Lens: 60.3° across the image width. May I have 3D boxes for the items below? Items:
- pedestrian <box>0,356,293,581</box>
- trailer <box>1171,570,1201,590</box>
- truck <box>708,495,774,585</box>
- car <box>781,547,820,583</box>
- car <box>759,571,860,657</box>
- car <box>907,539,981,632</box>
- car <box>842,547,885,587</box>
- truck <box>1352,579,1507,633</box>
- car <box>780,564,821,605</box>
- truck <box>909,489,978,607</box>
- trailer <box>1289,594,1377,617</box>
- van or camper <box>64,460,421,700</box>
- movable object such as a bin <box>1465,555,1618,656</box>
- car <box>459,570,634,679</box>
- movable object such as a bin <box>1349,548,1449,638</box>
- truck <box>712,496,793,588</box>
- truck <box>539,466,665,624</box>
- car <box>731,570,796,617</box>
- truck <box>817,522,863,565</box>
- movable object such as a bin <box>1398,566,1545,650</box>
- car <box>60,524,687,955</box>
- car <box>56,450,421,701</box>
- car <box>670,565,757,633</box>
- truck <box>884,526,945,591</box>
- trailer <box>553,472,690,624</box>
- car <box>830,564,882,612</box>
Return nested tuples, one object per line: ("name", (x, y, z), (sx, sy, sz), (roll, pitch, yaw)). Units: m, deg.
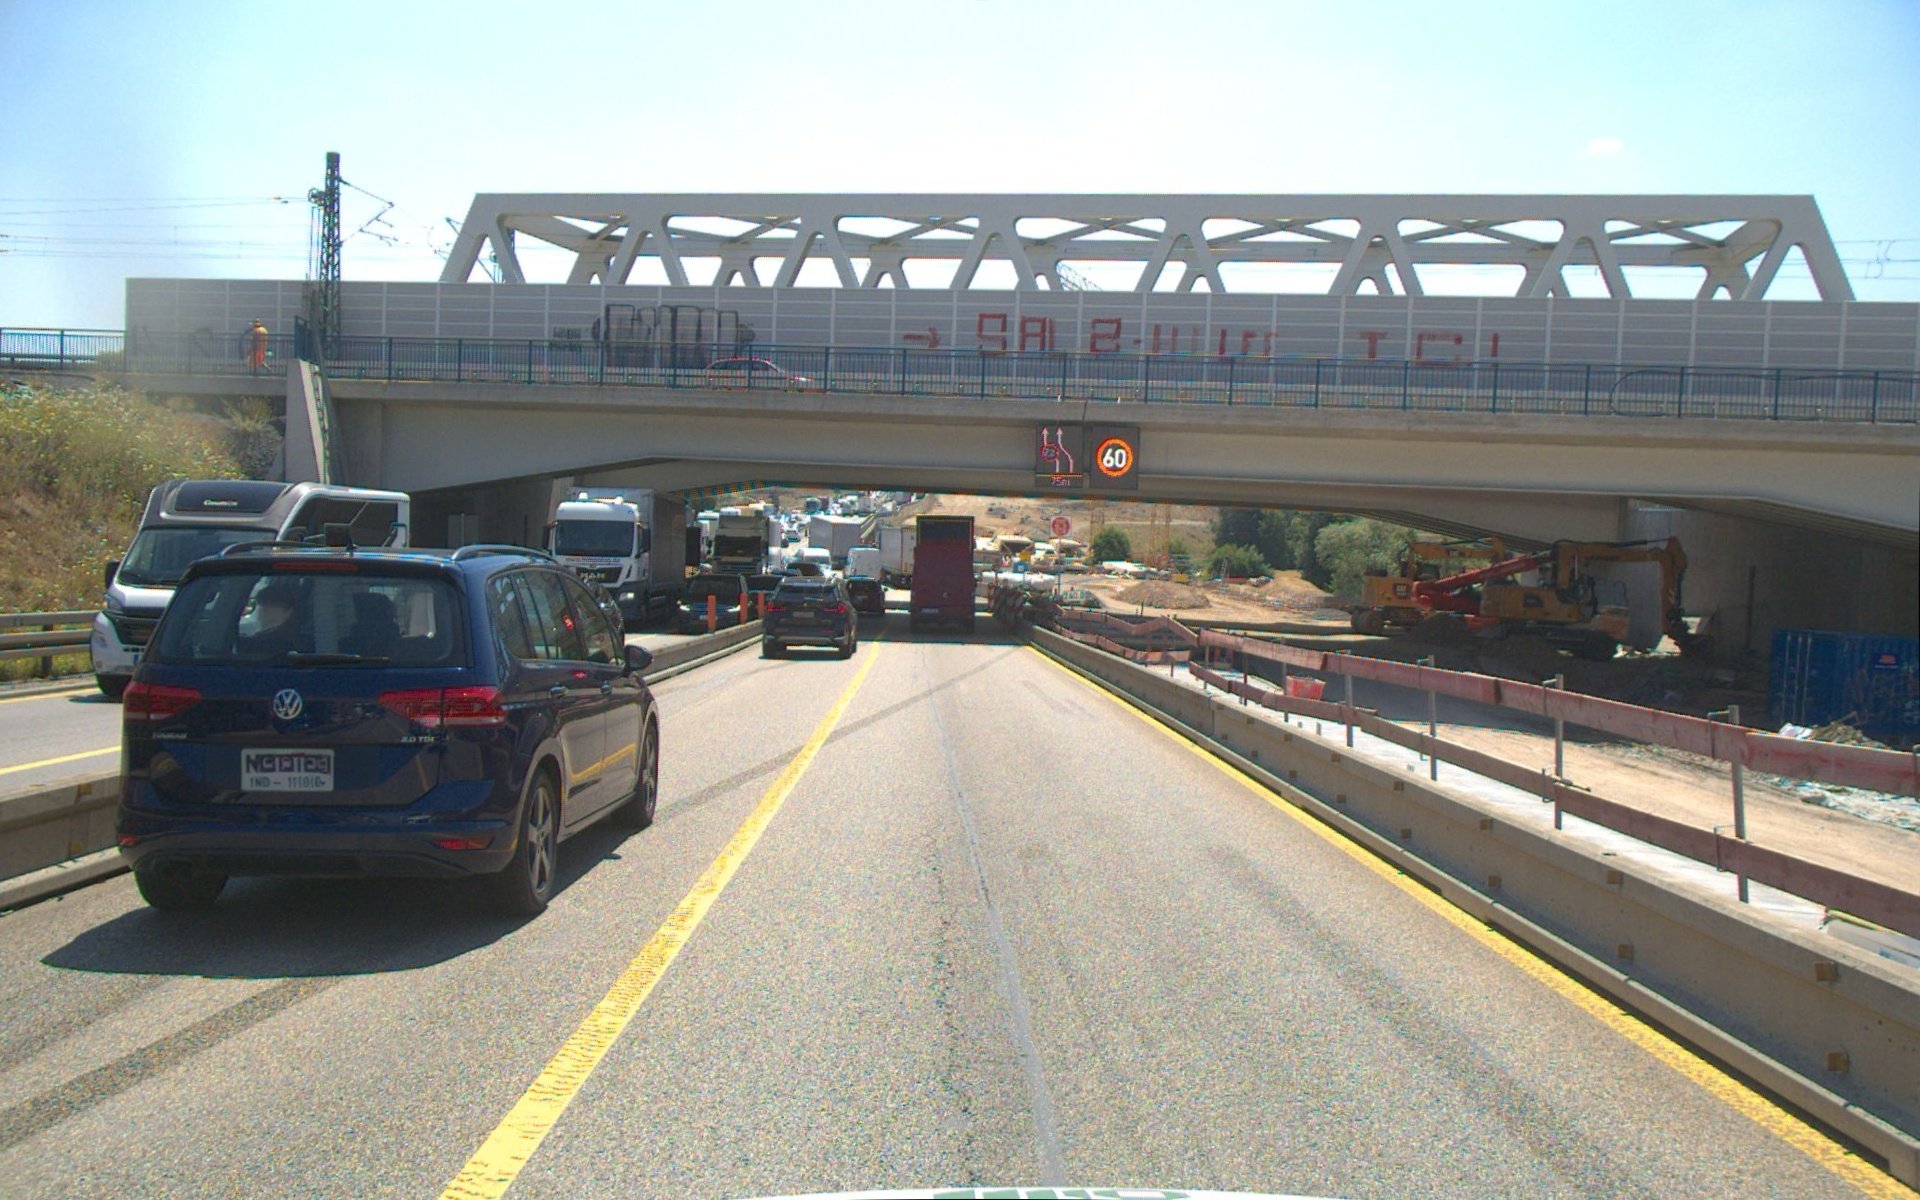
("pedestrian", (-8.923, -1.278, 17.667), (1.953, 2.049, 3.999), (1, 0, -1))
("trailer", (17.952, -1.598, 131.566), (1.592, 1.511, 3.823), (2, 2, -5))
("truck", (-10.967, -2.941, 83.094), (2.605, 4.243, 5.185), (1, 0, -1))
("car", (-11.093, -2.409, 114.566), (1.946, 2.370, 6.039), (1, 1, -13))
("car", (-3.119, 0.259, 35.008), (1.796, 1.664, 4.388), (1, 0, -2))
("car", (-0.494, -0.421, 50.887), (2.106, 2.656, 5.437), (1, 0, -1))
("car", (-6.581, -2.260, 112.006), (2.224, 2.395, 5.148), (1, 4, -11))
("truck", (21.723, 0.253, 76.771), (6.386, 2.109, 2.666), (3, 1, 2))
("car", (-8.002, -0.822, 83.166), (1.764, 1.966, 4.966), (1, 1, -3))
("truck", (-0.712, -2.457, 74.980), (2.884, 5.030, 6.744), (1, 3, 0))
("trailer", (21.481, 0.317, 95.417), (4.618, 1.241, 2.055), (1, 0, -1))
("van or camper", (-9.418, -0.260, 22.515), (2.080, 2.752, 6.454), (1, 0, -1))
("movable object such as a bin", (21.052, 0.202, 60.130), (4.459, 3.344, 2.991), (3, 0, 3))
("car", (-6.437, 0.327, 26.192), (1.718, 1.544, 4.186), (1, 1, -1))
("movable object such as a bin", (18.910, -0.289, 71.432), (3.799, 3.604, 2.905), (3, 0, 10))
("truck", (-11.082, -2.966, 89.721), (2.712, 4.389, 13.488), (1, 0, -1))
("truck", (-10.056, -1.481, 46.839), (2.742, 4.222, 4.071), (1, 0, -3))
("car", (-6.966, -0.225, 59.065), (1.818, 1.554, 4.772), (1, 0, -2))
("truck", (-10.862, -5.031, 148.721), (3.161, 3.419, 8.918), (1, 0, -10))
("movable object such as a bin", (20.787, 0.318, 67.389), (5.130, 3.109, 2.497), (3, 0, 3))
("car", (-2.672, 0.534, 8.708), (1.698, 1.664, 4.389), (1, 0, 0))
("car", (-9.449, -0.279, 22.496), (2.229, 2.870, 6.556), (1, 0, -2))
("car", (-6.855, -0.077, 46.379), (1.818, 1.787, 4.608), (1, 1, -2))
("truck", (-3.124, -2.863, 111.361), (3.124, 4.057, 6.729), (1, 3, -10))
("trailer", (-10.237, -1.464, 50.842), (2.756, 4.247, 8.239), (1, 0, -2))
("car", (-4.087, -0.474, 65.298), (1.796, 1.808, 4.389), (1, 0, -1))
